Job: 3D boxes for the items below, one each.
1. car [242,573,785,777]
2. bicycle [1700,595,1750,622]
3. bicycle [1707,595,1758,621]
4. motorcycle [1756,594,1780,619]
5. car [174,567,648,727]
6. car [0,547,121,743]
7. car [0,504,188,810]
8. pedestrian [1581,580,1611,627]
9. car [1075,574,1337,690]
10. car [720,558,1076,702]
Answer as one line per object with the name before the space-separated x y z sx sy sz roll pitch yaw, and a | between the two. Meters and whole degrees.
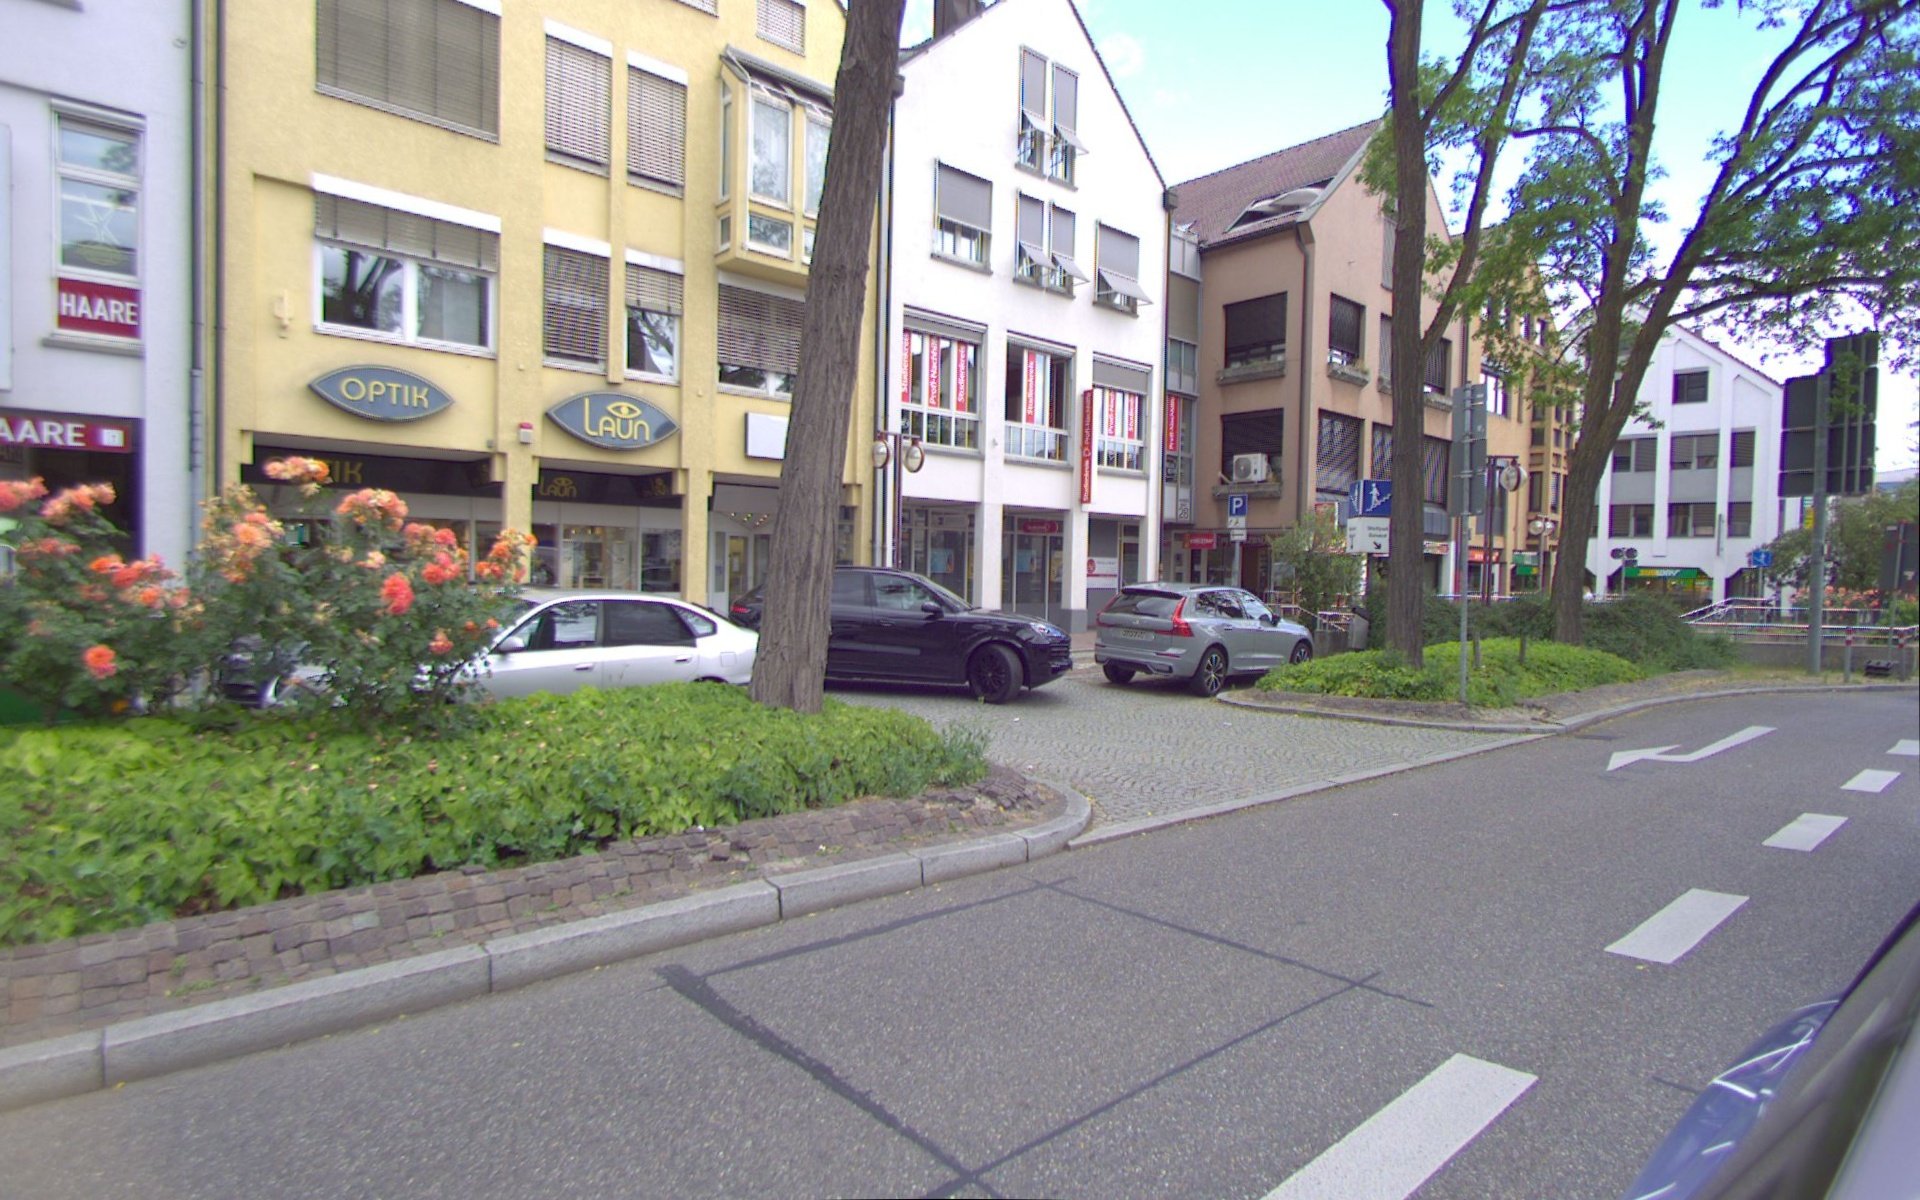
car | -3.981 0.527 9.523 4.344 1.468 1.765 0 2 -43
bicycle | 30.778 0.324 40.737 1.584 1.014 0.409 2 1 37
bicycle | 31.372 0.318 41.130 1.583 0.981 0.455 2 1 36
motorcycle | 35.147 0.283 44.008 1.961 1.081 0.464 0 1 -41
car | -6.017 0.398 11.399 4.344 1.393 2.000 0 3 -43
car | -9.427 0.336 7.928 4.320 1.561 1.799 0 3 -43
car | -7.545 0.307 6.036 4.528 1.899 1.883 0 3 -43
pedestrian | 25.580 0.128 40.707 0.772 1.846 0.869 0 0 -45
car | 4.178 0.435 16.709 4.685 1.615 1.995 0 2 -44
car | -0.790 0.342 14.032 4.578 1.690 1.858 2 2 3
